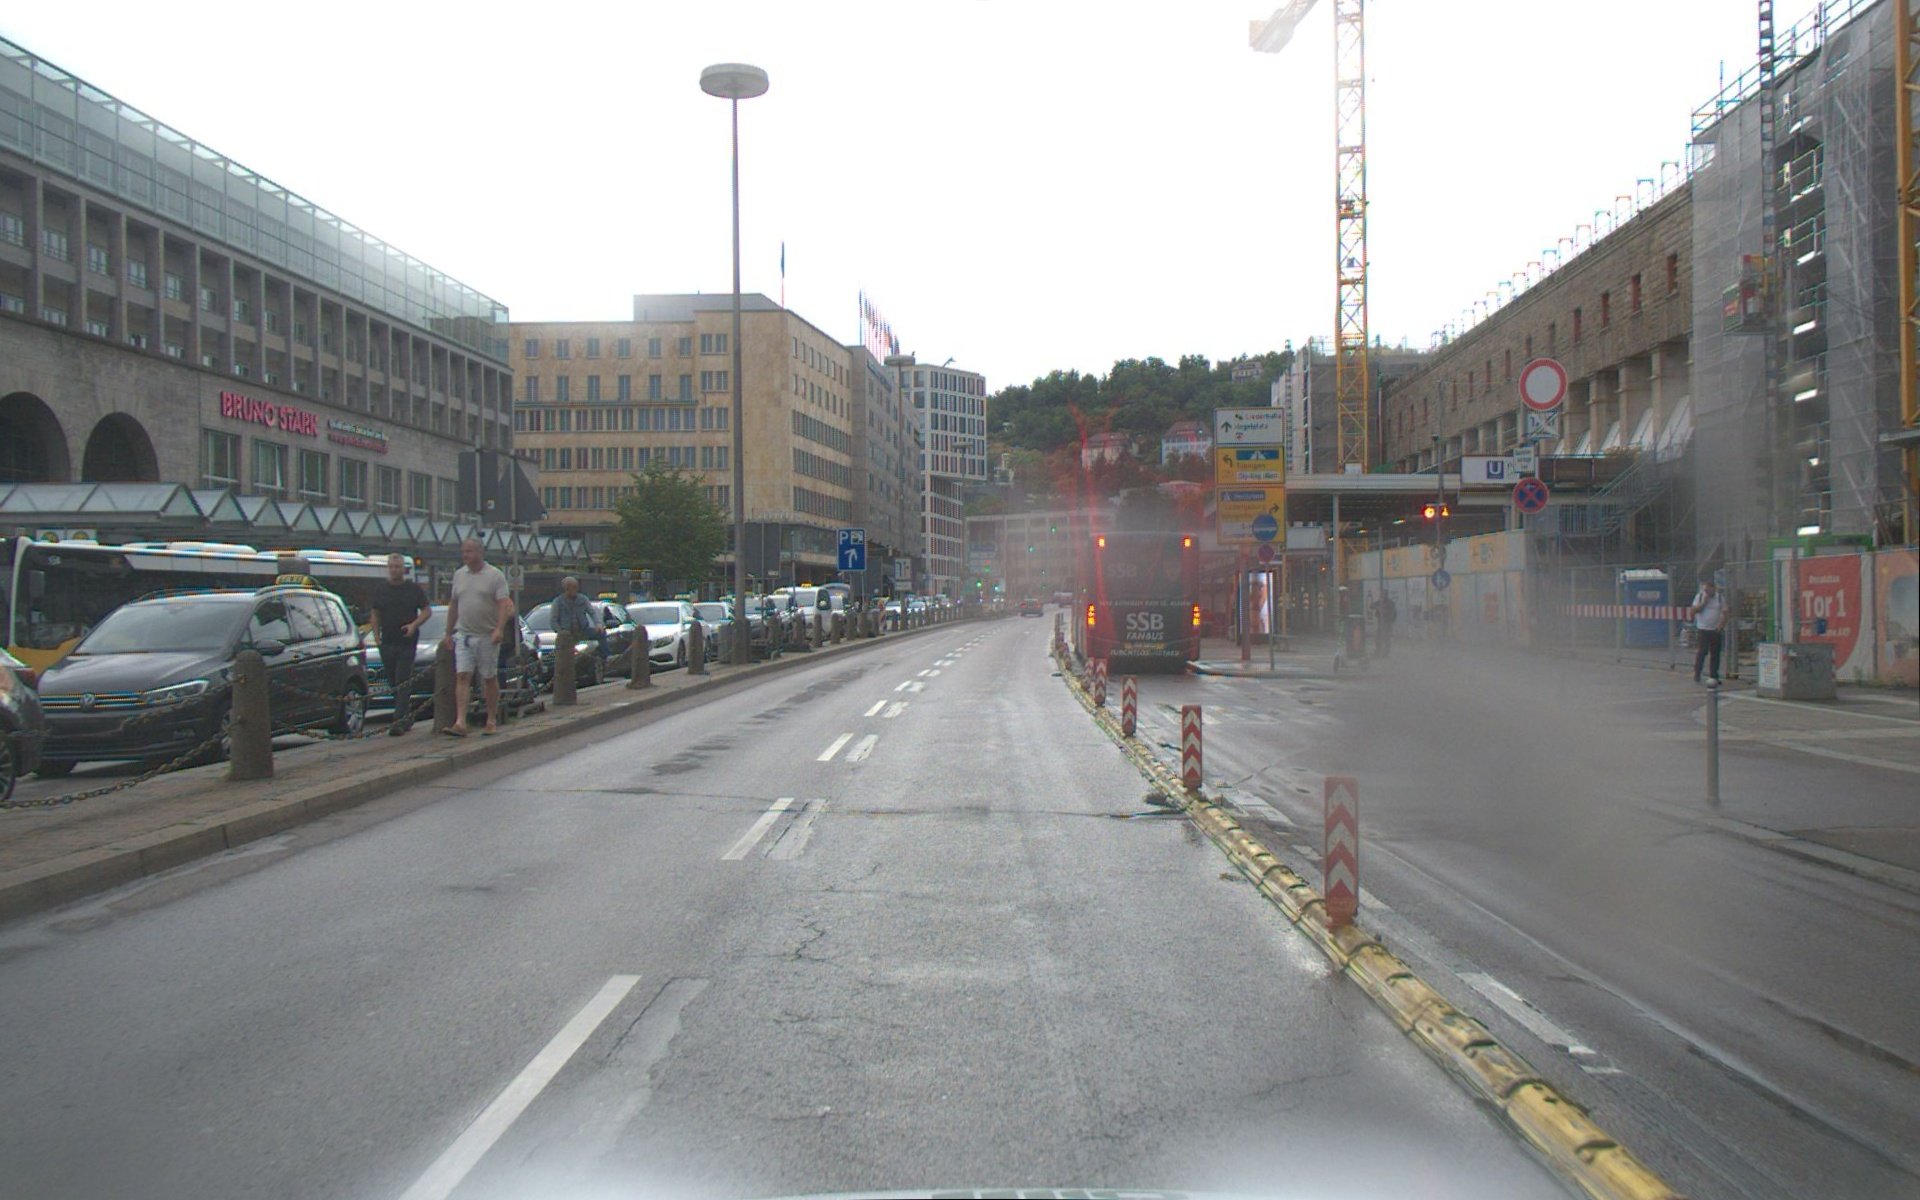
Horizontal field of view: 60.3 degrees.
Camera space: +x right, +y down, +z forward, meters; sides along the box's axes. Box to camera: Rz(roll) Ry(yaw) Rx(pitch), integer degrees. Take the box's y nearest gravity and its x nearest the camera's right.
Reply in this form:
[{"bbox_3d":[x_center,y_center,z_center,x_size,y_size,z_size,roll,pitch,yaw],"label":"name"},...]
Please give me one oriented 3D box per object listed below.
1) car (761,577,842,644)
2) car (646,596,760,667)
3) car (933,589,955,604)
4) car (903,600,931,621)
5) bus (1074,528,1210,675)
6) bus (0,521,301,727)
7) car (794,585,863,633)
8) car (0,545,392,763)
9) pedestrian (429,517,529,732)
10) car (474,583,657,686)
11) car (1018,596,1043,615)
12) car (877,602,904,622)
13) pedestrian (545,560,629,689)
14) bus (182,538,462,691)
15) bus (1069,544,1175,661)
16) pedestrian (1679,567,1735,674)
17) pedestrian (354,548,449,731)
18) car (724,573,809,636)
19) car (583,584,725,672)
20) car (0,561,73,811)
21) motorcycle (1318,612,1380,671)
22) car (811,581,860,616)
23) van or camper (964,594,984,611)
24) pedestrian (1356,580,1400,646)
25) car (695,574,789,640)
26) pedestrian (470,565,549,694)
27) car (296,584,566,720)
[{"bbox_3d":[-5.531,0.346,58.438,1.952,2.217,5.546,-1,0,3],"label":"car"},{"bbox_3d":[-6.357,0.750,41.463,1.890,1.604,5.053,-2,0,1],"label":"car"},{"bbox_3d":[-1.827,-0.387,190.379,1.951,1.645,4.981,-1,0,6],"label":"car"},{"bbox_3d":[-3.582,0.867,138.802,1.921,1.591,4.837,-3,0,3],"label":"car"},{"bbox_3d":[4.234,0.060,40.195,2.697,3.122,9.083,1,0,3],"label":"bus"},{"bbox_3d":[-16.898,0.403,33.005,2.817,3.435,10.578,0,0,3],"label":"bus"},{"bbox_3d":[-5.034,0.340,64.042,1.952,1.752,4.784,-1,0,4],"label":"car"},{"bbox_3d":[-7.275,0.465,15.842,1.890,1.720,4.683,-2,0,2],"label":"car"},{"bbox_3d":[-4.688,0.235,16.154,0.708,2.043,0.773,1,0,2],"label":"pedestrian"},{"bbox_3d":[-6.858,0.582,29.358,1.890,1.604,5.013,-2,0,1],"label":"car"},{"bbox_3d":[6.014,0.496,141.151,1.952,1.579,4.002,-1,0,4],"label":"car"},{"bbox_3d":[-6.160,1.037,146.551,1.921,1.591,4.837,-3,0,3],"label":"car"},{"bbox_3d":[-5.271,0.341,23.407,1.028,1.799,0.617,0,-1,1],"label":"pedestrian"},{"bbox_3d":[-16.379,0.341,43.601,2.817,3.520,10.578,0,0,3],"label":"bus"},{"bbox_3d":[4.673,0.099,49.246,2.697,3.119,8.996,1,0,3],"label":"bus"},{"bbox_3d":[13.403,0.362,29.692,0.631,1.880,0.659,-3,0,2],"label":"pedestrian"},{"bbox_3d":[-5.570,0.383,16.522,0.684,1.785,0.711,0,0,2],"label":"pedestrian"},{"bbox_3d":[-6.122,0.153,52.835,1.889,1.838,4.584,-2,0,3],"label":"car"},{"bbox_3d":[-6.489,0.577,35.675,1.935,1.688,5.193,-2,0,1],"label":"car"},{"bbox_3d":[-7.596,0.614,9.909,1.890,1.720,4.683,-2,0,2],"label":"car"},{"bbox_3d":[8.127,0.858,34.493,0.576,1.186,1.608,0,-1,41],"label":"motorcycle"},{"bbox_3d":[-5.751,-0.056,76.734,1.953,1.579,4.000,-1,0,0],"label":"car"},{"bbox_3d":[1.711,0.296,199.059,1.951,2.049,5.192,-1,0,6],"label":"van or camper"},{"bbox_3d":[10.691,0.330,42.271,0.889,1.664,0.826,0,0,30],"label":"pedestrian"},{"bbox_3d":[-6.232,0.203,47.787,1.890,1.728,4.886,-2,0,1],"label":"car"},{"bbox_3d":[-5.908,0.373,21.720,0.708,1.634,0.996,1,0,2],"label":"pedestrian"},{"bbox_3d":[-7.143,0.662,23.015,1.890,1.604,5.262,-2,0,2],"label":"car"}]
